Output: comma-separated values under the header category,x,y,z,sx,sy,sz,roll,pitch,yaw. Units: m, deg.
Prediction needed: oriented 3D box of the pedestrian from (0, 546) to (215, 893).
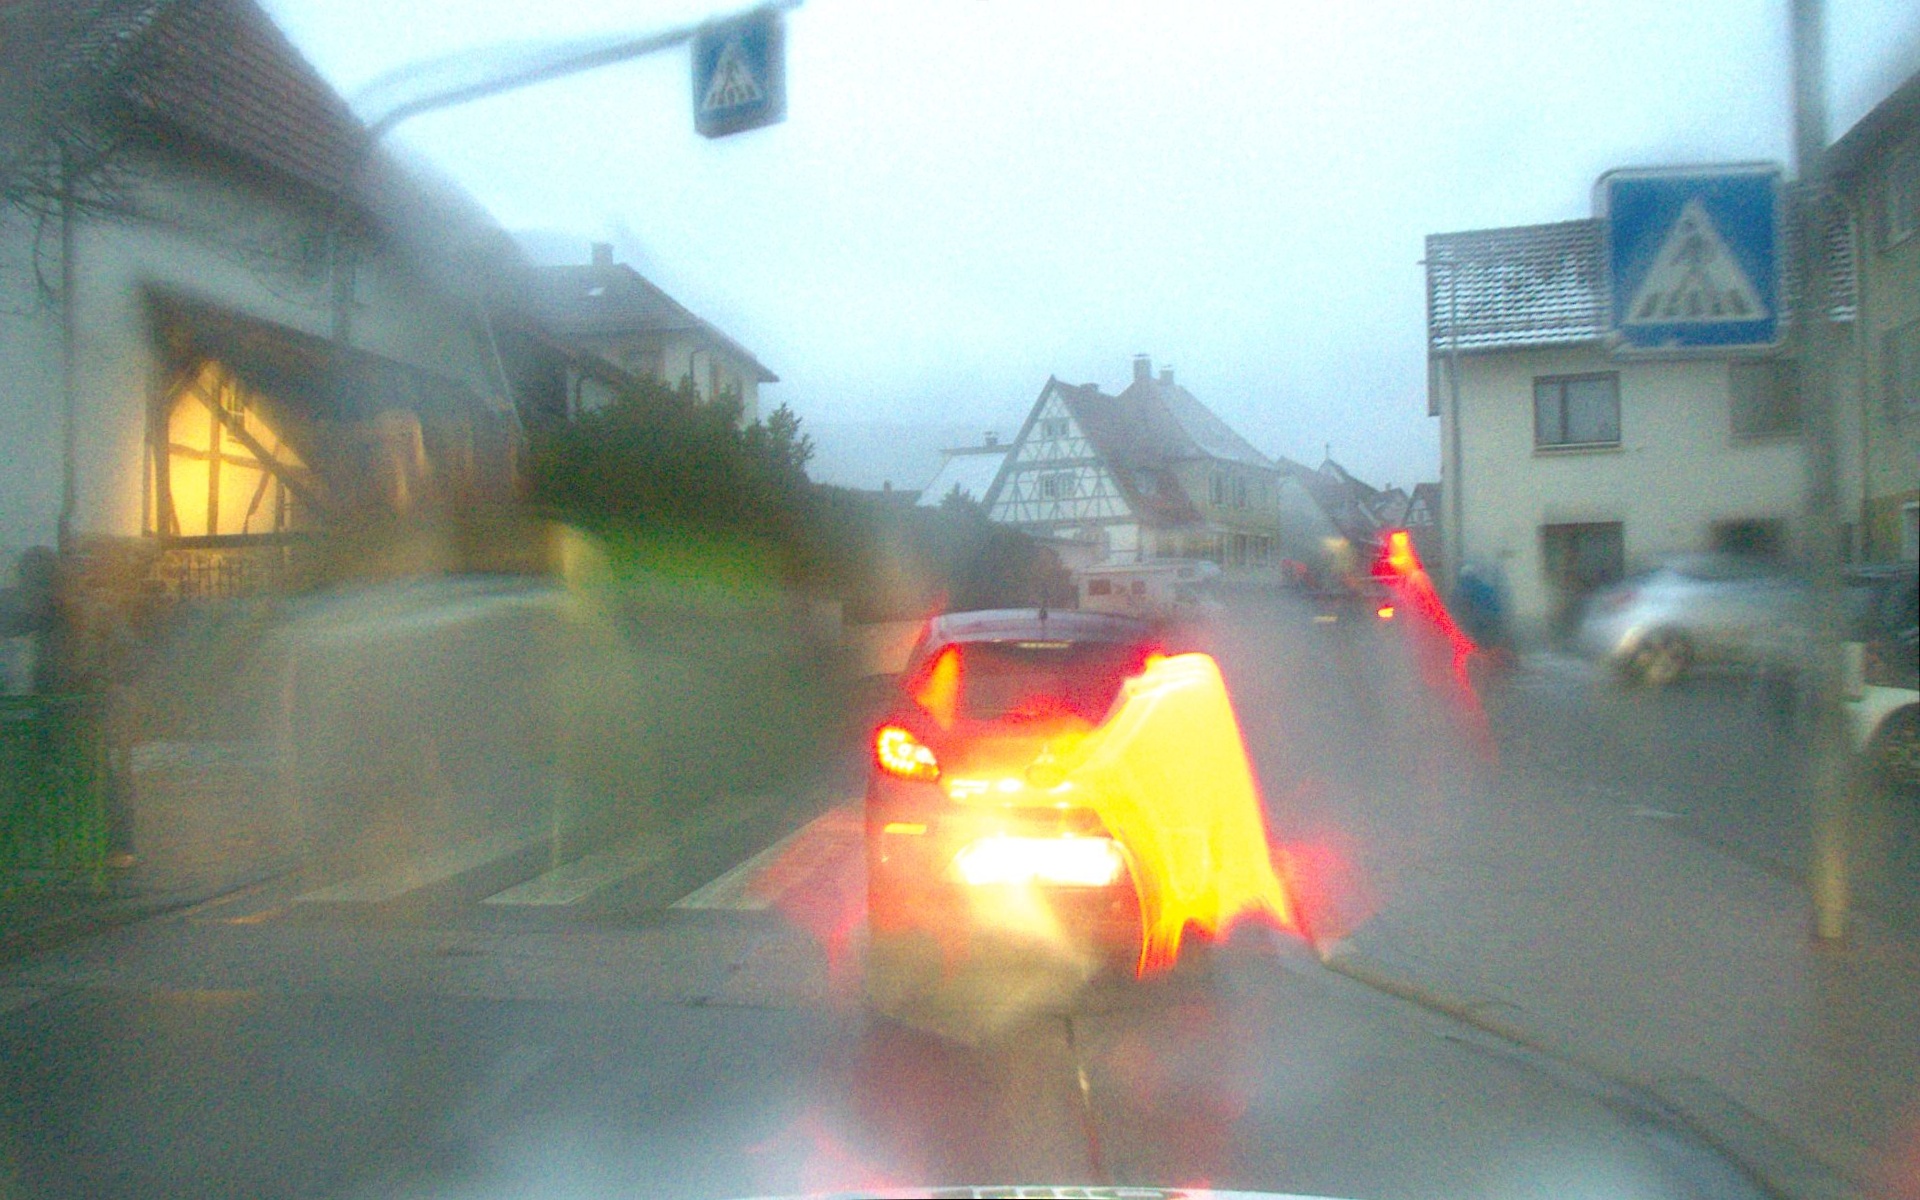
category,x,y,z,sx,sy,sz,roll,pitch,yaw
pedestrian,-4.741,0.597,8.973,0.861,1.765,0.956,0,1,18

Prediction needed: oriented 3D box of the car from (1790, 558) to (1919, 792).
category,x,y,z,sx,sy,sz,roll,pitch,yaw
car,7.581,0.461,11.852,2.527,1.574,1.553,-2,0,10

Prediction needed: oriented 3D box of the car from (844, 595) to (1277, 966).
category,x,y,z,sx,sy,sz,roll,pitch,yaw
car,0.426,0.729,8.724,1.758,1.502,4.000,0,0,0

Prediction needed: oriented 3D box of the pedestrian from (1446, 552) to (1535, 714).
category,x,y,z,sx,sy,sz,roll,pitch,yaw
pedestrian,6.077,0.374,18.977,0.830,1.763,0.972,-4,-1,17

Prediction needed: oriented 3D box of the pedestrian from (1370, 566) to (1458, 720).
category,x,y,z,sx,sy,sz,roll,pitch,yaw
pedestrian,5.293,0.491,19.249,0.849,1.696,0.992,-4,-1,17

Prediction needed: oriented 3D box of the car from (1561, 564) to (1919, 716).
category,x,y,z,sx,sy,sz,roll,pitch,yaw
car,8.900,0.432,18.525,3.816,1.500,1.752,-3,-1,13

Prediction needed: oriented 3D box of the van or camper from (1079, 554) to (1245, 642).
category,x,y,z,sx,sy,sz,roll,pitch,yaw
van or camper,7.982,-0.045,65.430,5.941,3.006,2.404,-4,-2,25

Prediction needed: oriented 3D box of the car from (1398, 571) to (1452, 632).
category,x,y,z,sx,sy,sz,roll,pitch,yaw
car,19.264,0.058,68.468,1.777,2.455,3.751,-1,0,21

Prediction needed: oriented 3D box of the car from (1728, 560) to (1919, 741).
category,x,y,z,sx,sy,sz,roll,pitch,yaw
car,8.631,0.396,14.648,2.999,1.500,1.551,-3,-1,13

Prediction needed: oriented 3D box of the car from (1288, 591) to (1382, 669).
category,x,y,z,sx,sy,sz,roll,pitch,yaw
car,8.629,0.653,37.831,1.808,1.665,4.338,0,0,17
